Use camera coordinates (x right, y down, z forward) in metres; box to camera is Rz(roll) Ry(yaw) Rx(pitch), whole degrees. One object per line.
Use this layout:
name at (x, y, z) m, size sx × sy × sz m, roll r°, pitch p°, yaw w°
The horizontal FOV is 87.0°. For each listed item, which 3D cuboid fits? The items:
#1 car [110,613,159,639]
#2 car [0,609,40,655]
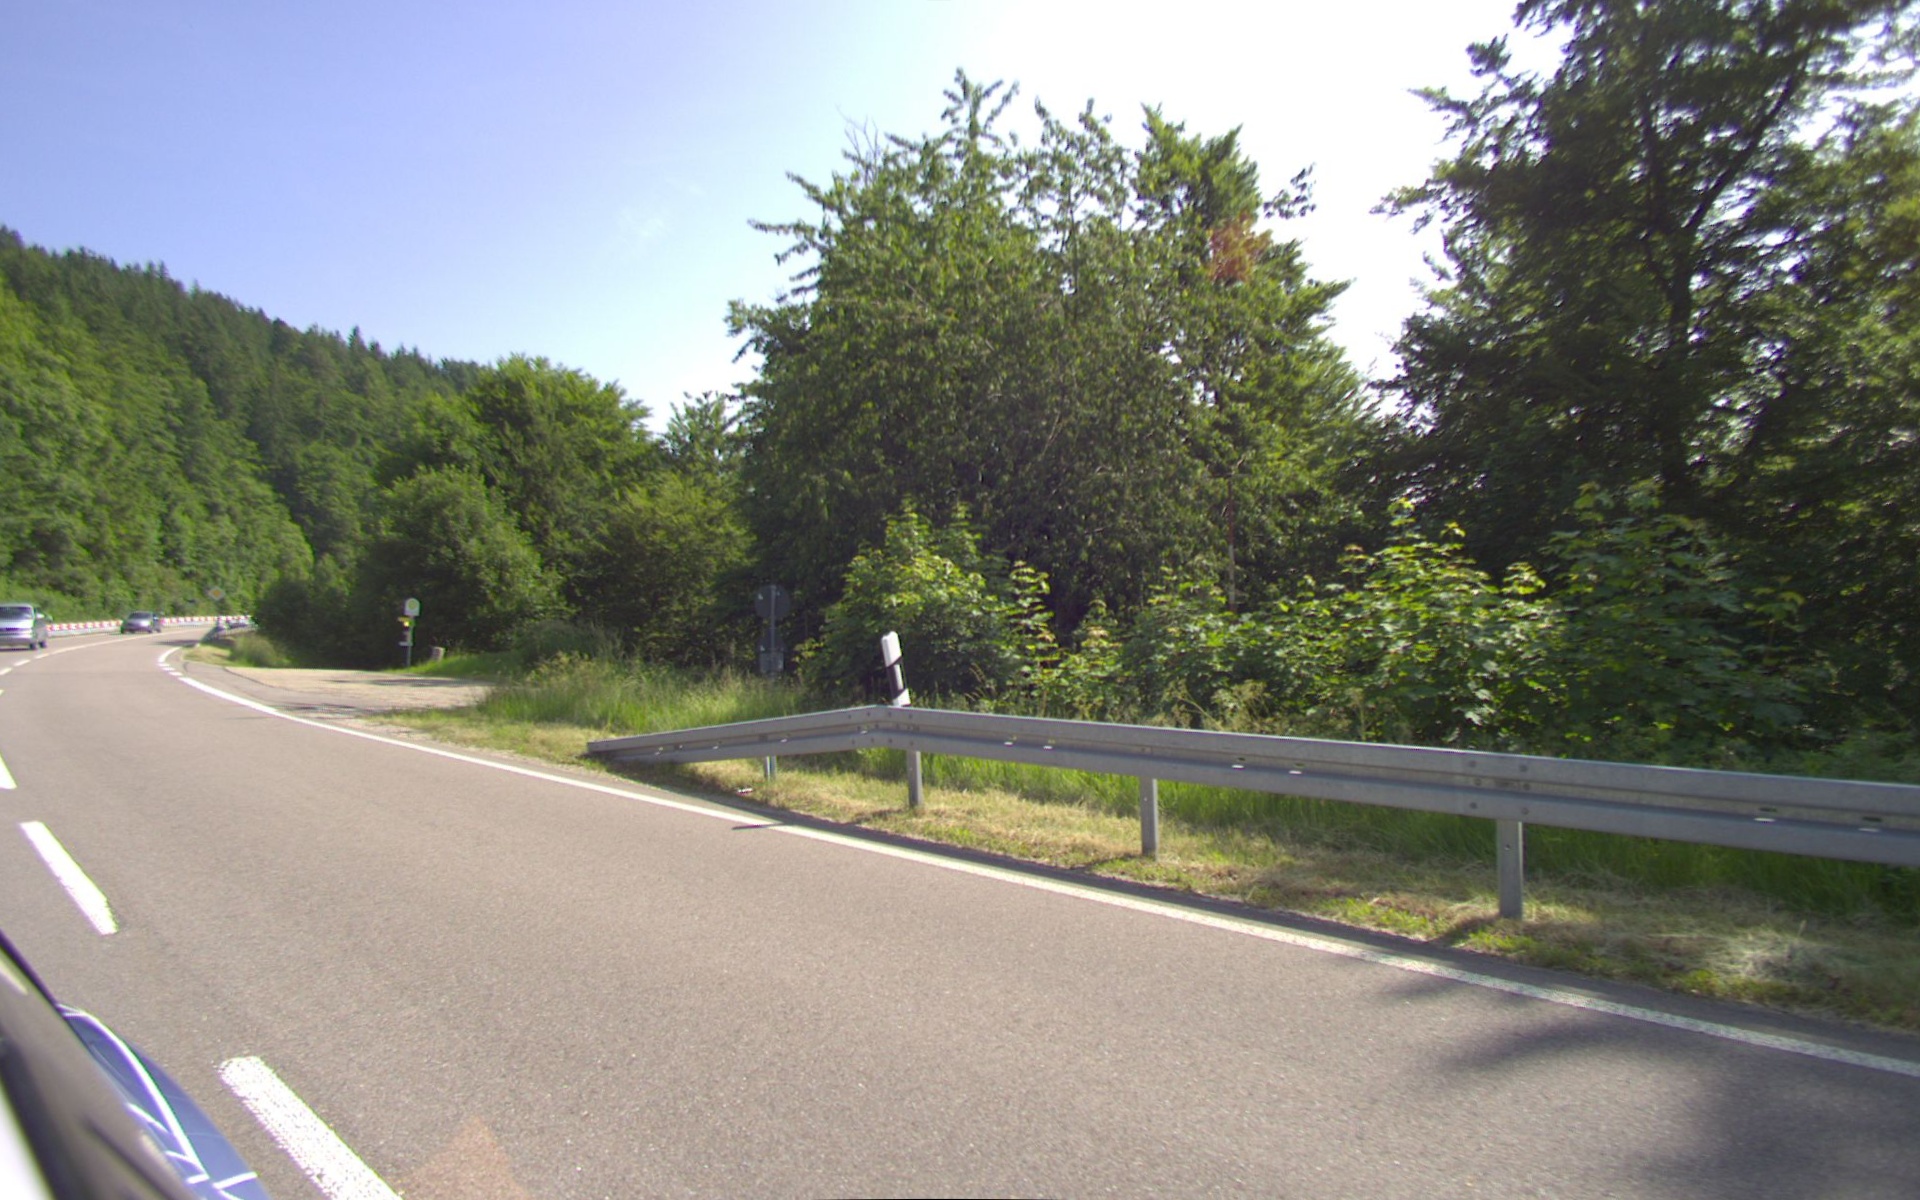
car at (-55.458, 1.702, 68.074) m, size 1.966 × 1.655 × 4.012 m, roll -1°, pitch 0°, yaw -31°
car at (-38.930, 1.276, 41.354) m, size 1.627 × 1.773 × 3.802 m, roll 0°, pitch -1°, yaw -37°
